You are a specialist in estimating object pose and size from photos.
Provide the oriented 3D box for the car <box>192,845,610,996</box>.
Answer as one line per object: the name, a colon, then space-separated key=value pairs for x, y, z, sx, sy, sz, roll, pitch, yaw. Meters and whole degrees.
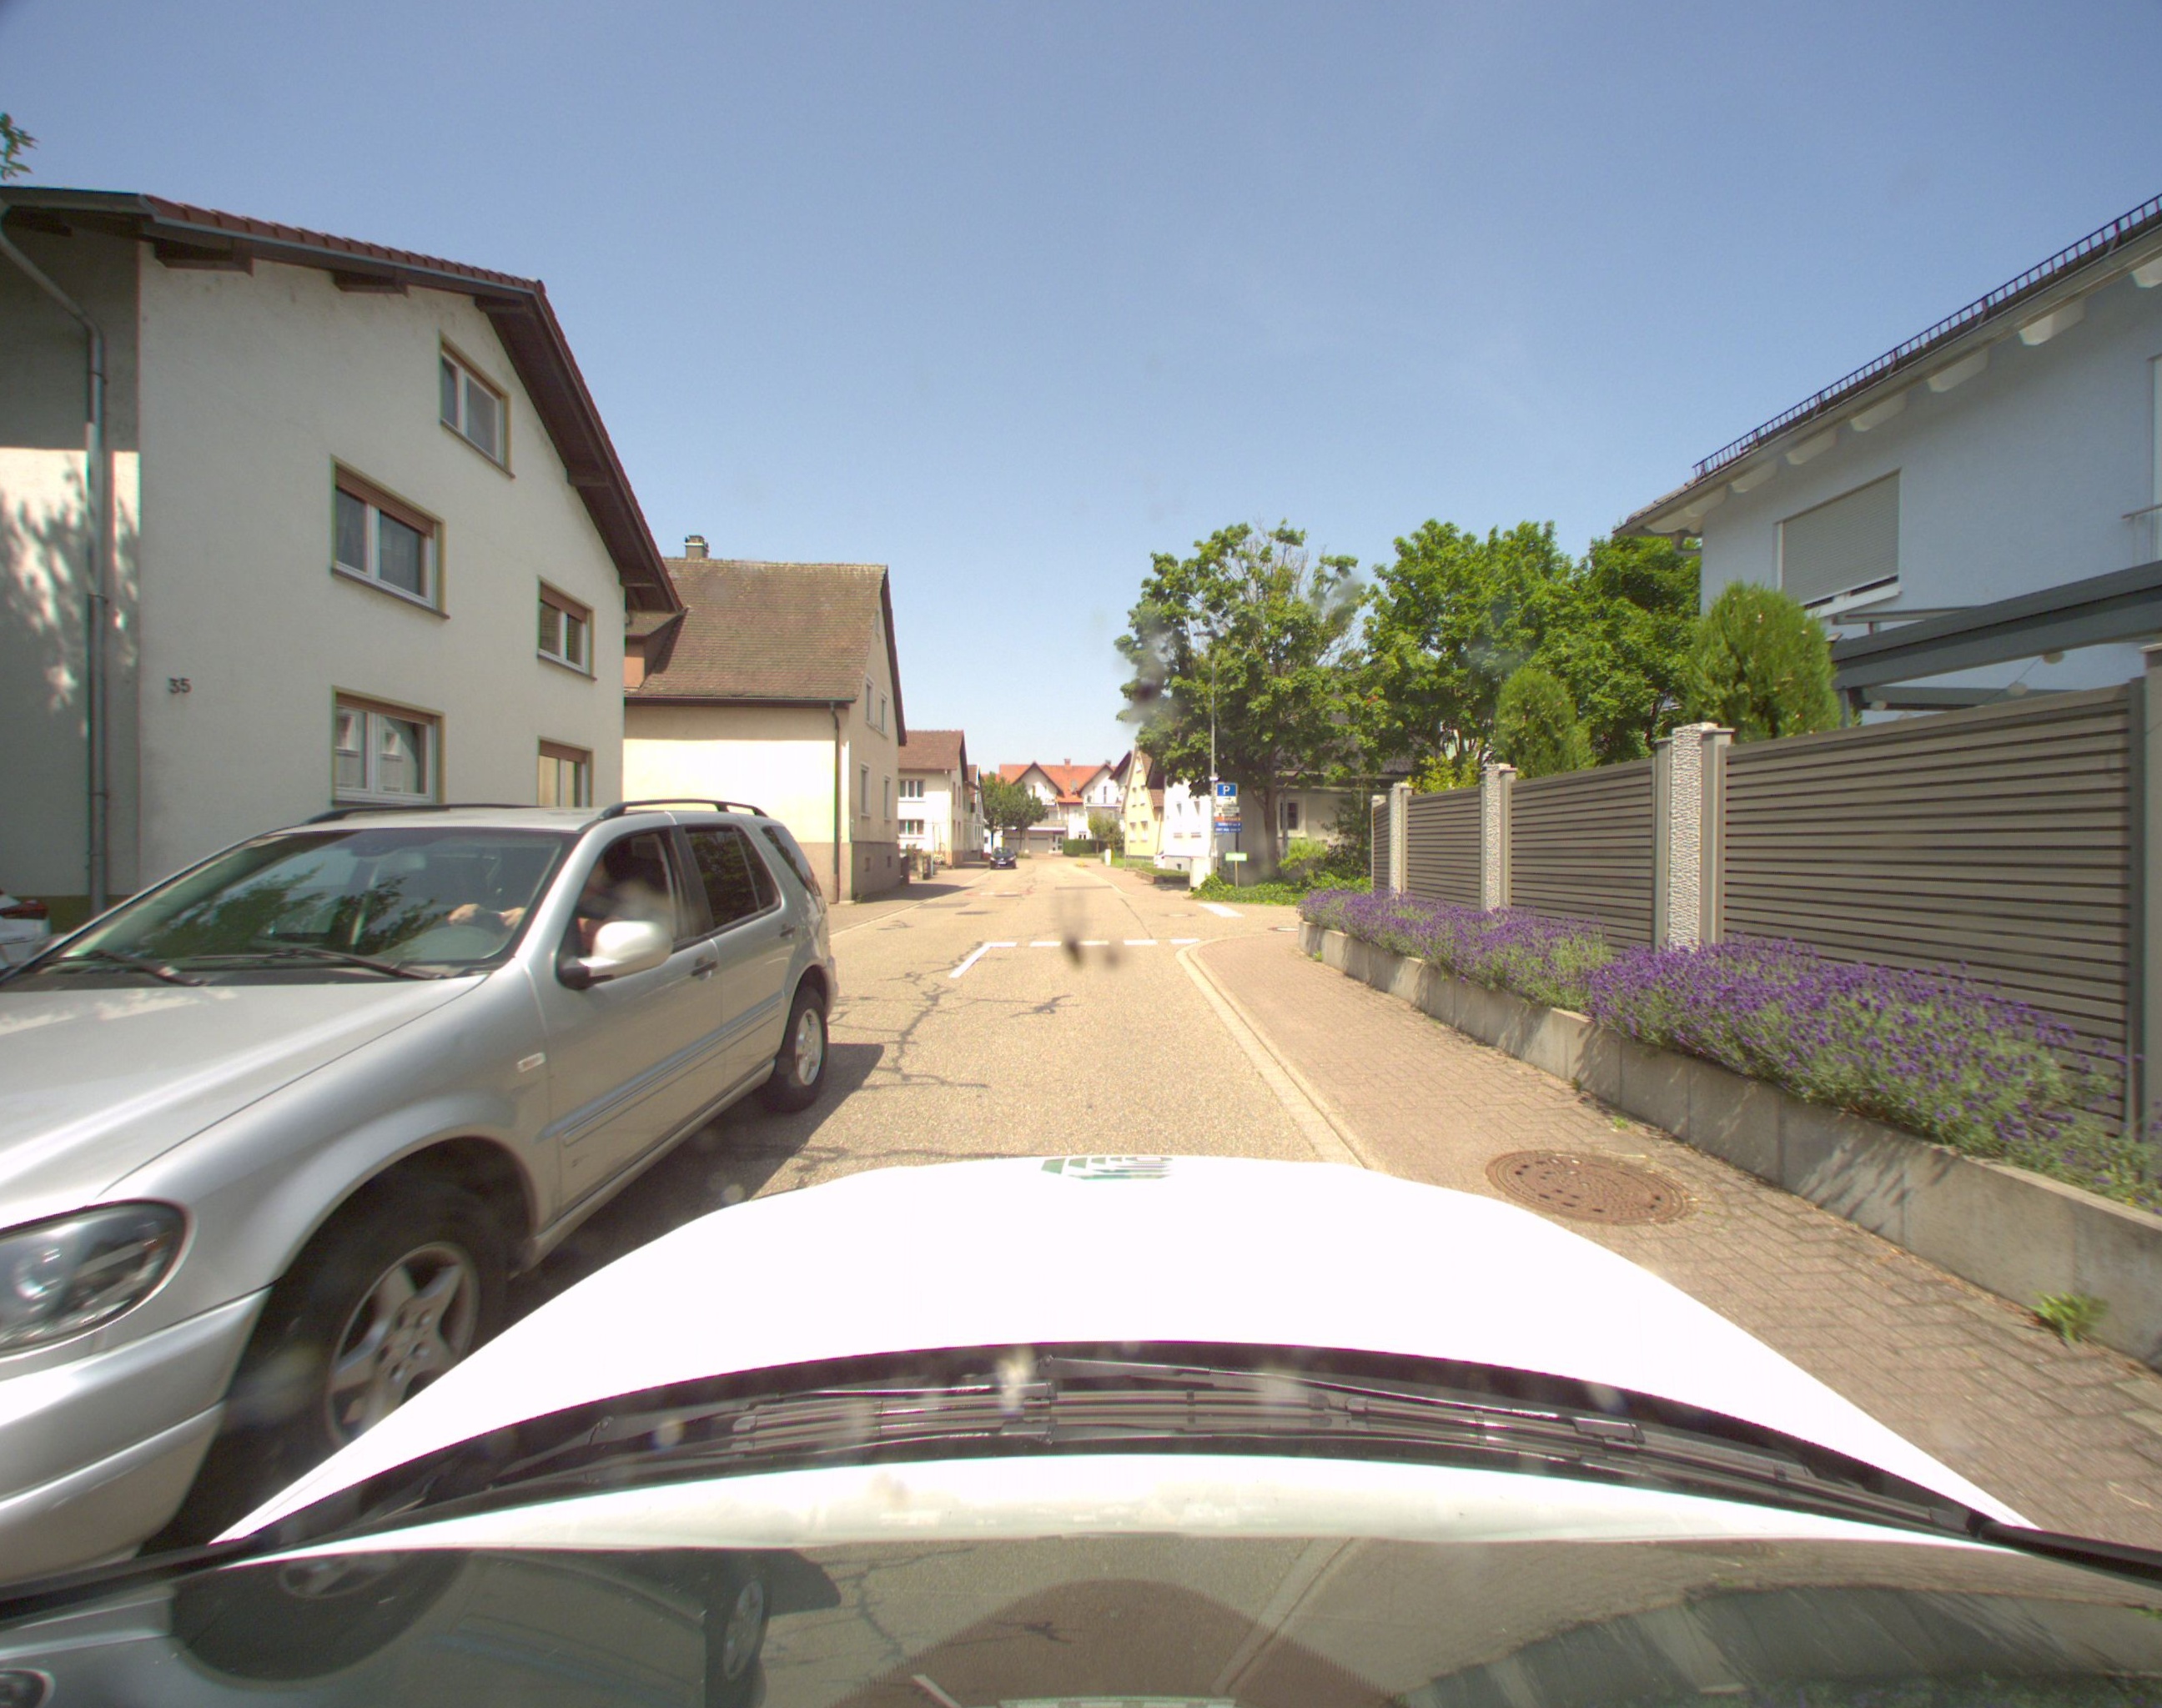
car: x=-7.764 y=0.630 z=9.935 sx=1.774 sy=1.434 sz=4.053 roll=0 pitch=1 yaw=-2

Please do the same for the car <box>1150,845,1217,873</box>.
car: x=5.126 y=0.233 z=40.715 sx=3.043 sy=1.345 sz=1.417 roll=-1 pitch=-1 yaw=-11

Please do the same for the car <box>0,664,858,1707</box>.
car: x=-2.512 y=0.582 z=3.409 sx=1.879 sy=1.767 sz=4.331 roll=-1 pitch=1 yaw=0

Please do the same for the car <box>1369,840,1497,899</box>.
car: x=9.618 y=0.361 z=22.558 sx=1.591 sy=1.445 sz=3.556 roll=0 pitch=2 yaw=-10

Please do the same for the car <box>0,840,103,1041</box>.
car: x=-10.370 y=0.724 z=5.959 sx=4.147 sy=1.538 sz=1.773 roll=-2 pitch=1 yaw=-1

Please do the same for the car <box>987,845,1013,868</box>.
car: x=-5.464 y=0.145 z=55.357 sx=1.623 sy=1.486 sz=3.994 roll=-1 pitch=1 yaw=-4
